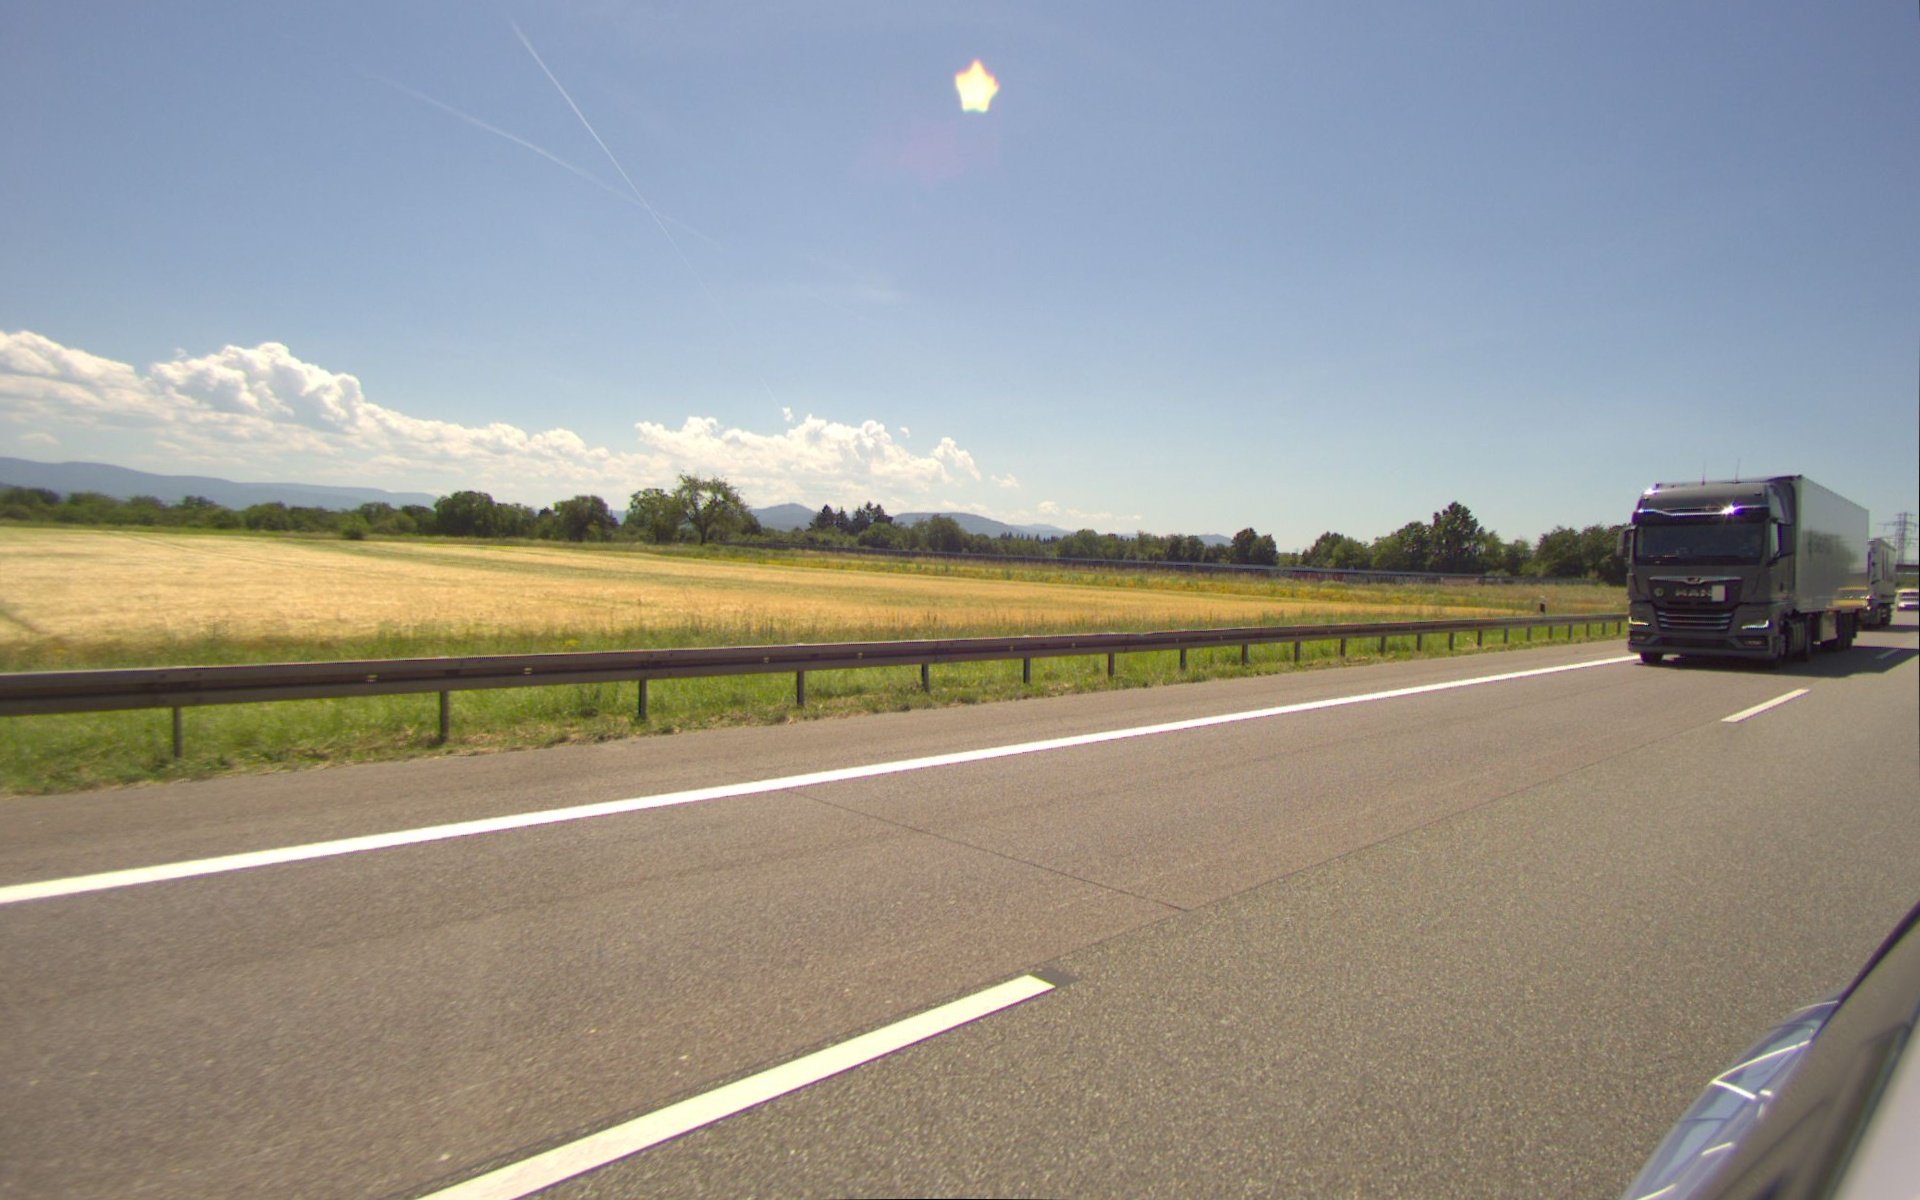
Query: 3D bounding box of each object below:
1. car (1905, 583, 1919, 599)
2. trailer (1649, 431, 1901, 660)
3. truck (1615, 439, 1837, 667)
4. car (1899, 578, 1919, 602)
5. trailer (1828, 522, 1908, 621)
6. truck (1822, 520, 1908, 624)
[{"bbox_3d":[91.755,-0.847,96.682,1.776,1.494,3.945,3,3,38],"label":"car"},{"bbox_3d":[21.842,-1.204,26.580,13.745,4.715,2.906,0,1,-42],"label":"trailer"},{"bbox_3d":[16.640,-0.941,21.907,4.889,4.309,2.913,0,1,-42],"label":"truck"},{"bbox_3d":[96.049,-0.977,101.512,2.178,2.294,4.884,3,3,38],"label":"car"},{"bbox_3d":[45.076,-1.505,50.064,2.595,4.304,13.430,1,3,43],"label":"trailer"},{"bbox_3d":[40.003,-1.250,44.683,2.601,4.308,5.009,1,2,44],"label":"truck"}]
